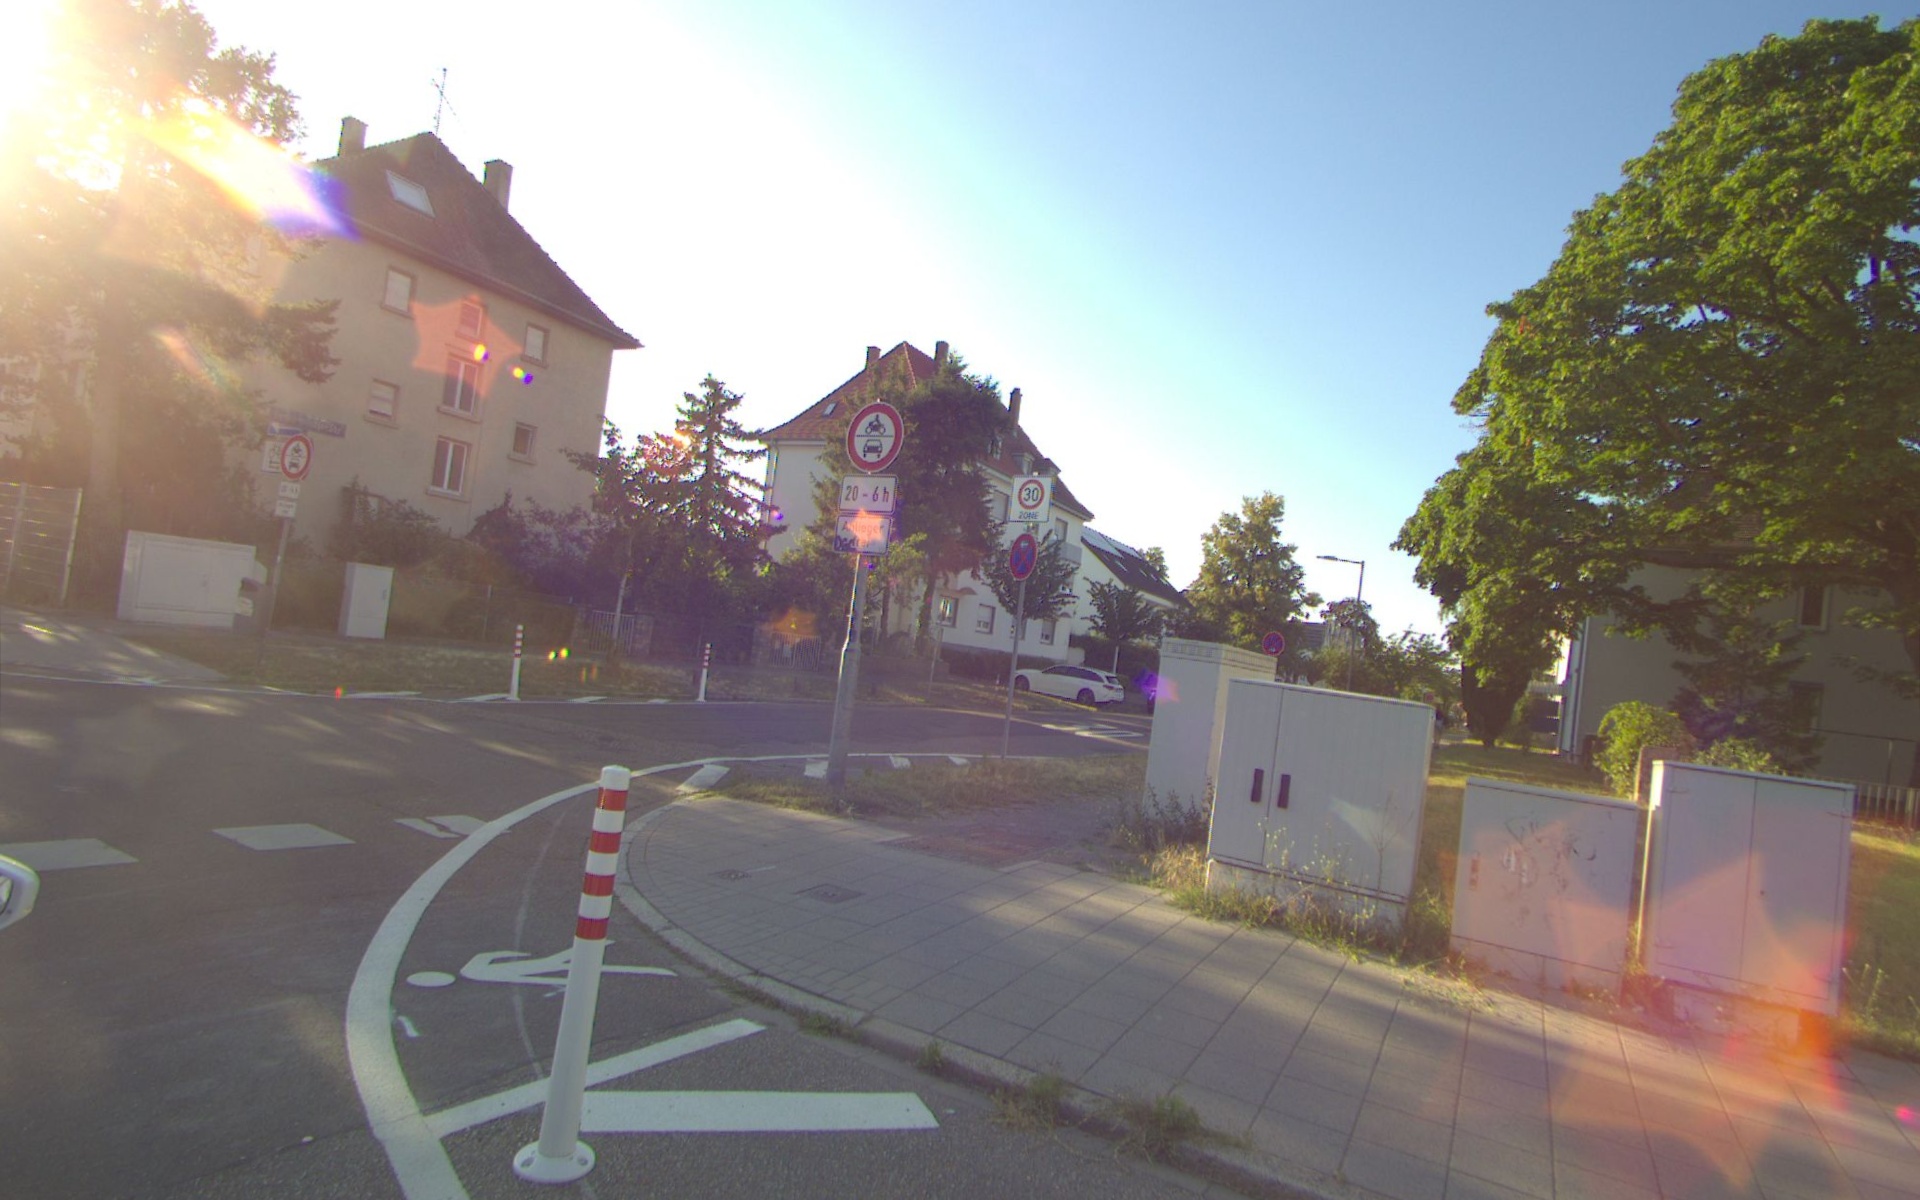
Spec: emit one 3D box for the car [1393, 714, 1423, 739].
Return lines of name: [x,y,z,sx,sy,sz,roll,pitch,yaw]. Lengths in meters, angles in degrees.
car: [35.730,10.048,80.238,1.937,1.632,4.248,6,-3,26]

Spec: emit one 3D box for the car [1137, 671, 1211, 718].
car: [9.063,3.990,42.327,1.937,1.632,4.248,6,-3,26]

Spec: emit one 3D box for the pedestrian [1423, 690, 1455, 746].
pedestrian: [18.636,4.565,39.110,0.883,2.037,0.692,6,-2,30]

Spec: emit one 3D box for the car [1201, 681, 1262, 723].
car: [12.915,4.851,47.733,1.937,1.632,4.248,6,-3,26]

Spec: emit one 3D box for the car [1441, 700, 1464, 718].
car: [52.079,11.522,106.366,1.938,1.632,4.245,6,-3,29]

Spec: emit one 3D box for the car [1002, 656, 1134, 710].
car: [4.321,3.320,40.250,4.755,1.632,1.971,4,-3,28]

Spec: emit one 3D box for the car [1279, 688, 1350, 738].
car: [14.300,4.539,40.464,1.938,1.632,4.245,6,-3,29]

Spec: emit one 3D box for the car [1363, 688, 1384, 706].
car: [49.328,11.543,119.928,1.937,1.795,4.248,6,-3,26]

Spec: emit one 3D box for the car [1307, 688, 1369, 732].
car: [17.161,5.002,45.594,1.938,1.632,4.245,6,-3,29]

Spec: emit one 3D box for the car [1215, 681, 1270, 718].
car: [14.911,5.230,52.933,1.937,1.632,4.248,6,-3,26]

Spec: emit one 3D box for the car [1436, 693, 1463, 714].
car: [44.927,9.496,92.366,1.938,1.632,4.245,6,-3,29]

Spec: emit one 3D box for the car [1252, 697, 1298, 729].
car: [19.192,6.848,61.137,1.937,1.632,4.248,6,-3,26]

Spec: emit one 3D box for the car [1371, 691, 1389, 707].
car: [55.352,13.022,132.524,1.937,1.795,4.248,6,-3,26]
